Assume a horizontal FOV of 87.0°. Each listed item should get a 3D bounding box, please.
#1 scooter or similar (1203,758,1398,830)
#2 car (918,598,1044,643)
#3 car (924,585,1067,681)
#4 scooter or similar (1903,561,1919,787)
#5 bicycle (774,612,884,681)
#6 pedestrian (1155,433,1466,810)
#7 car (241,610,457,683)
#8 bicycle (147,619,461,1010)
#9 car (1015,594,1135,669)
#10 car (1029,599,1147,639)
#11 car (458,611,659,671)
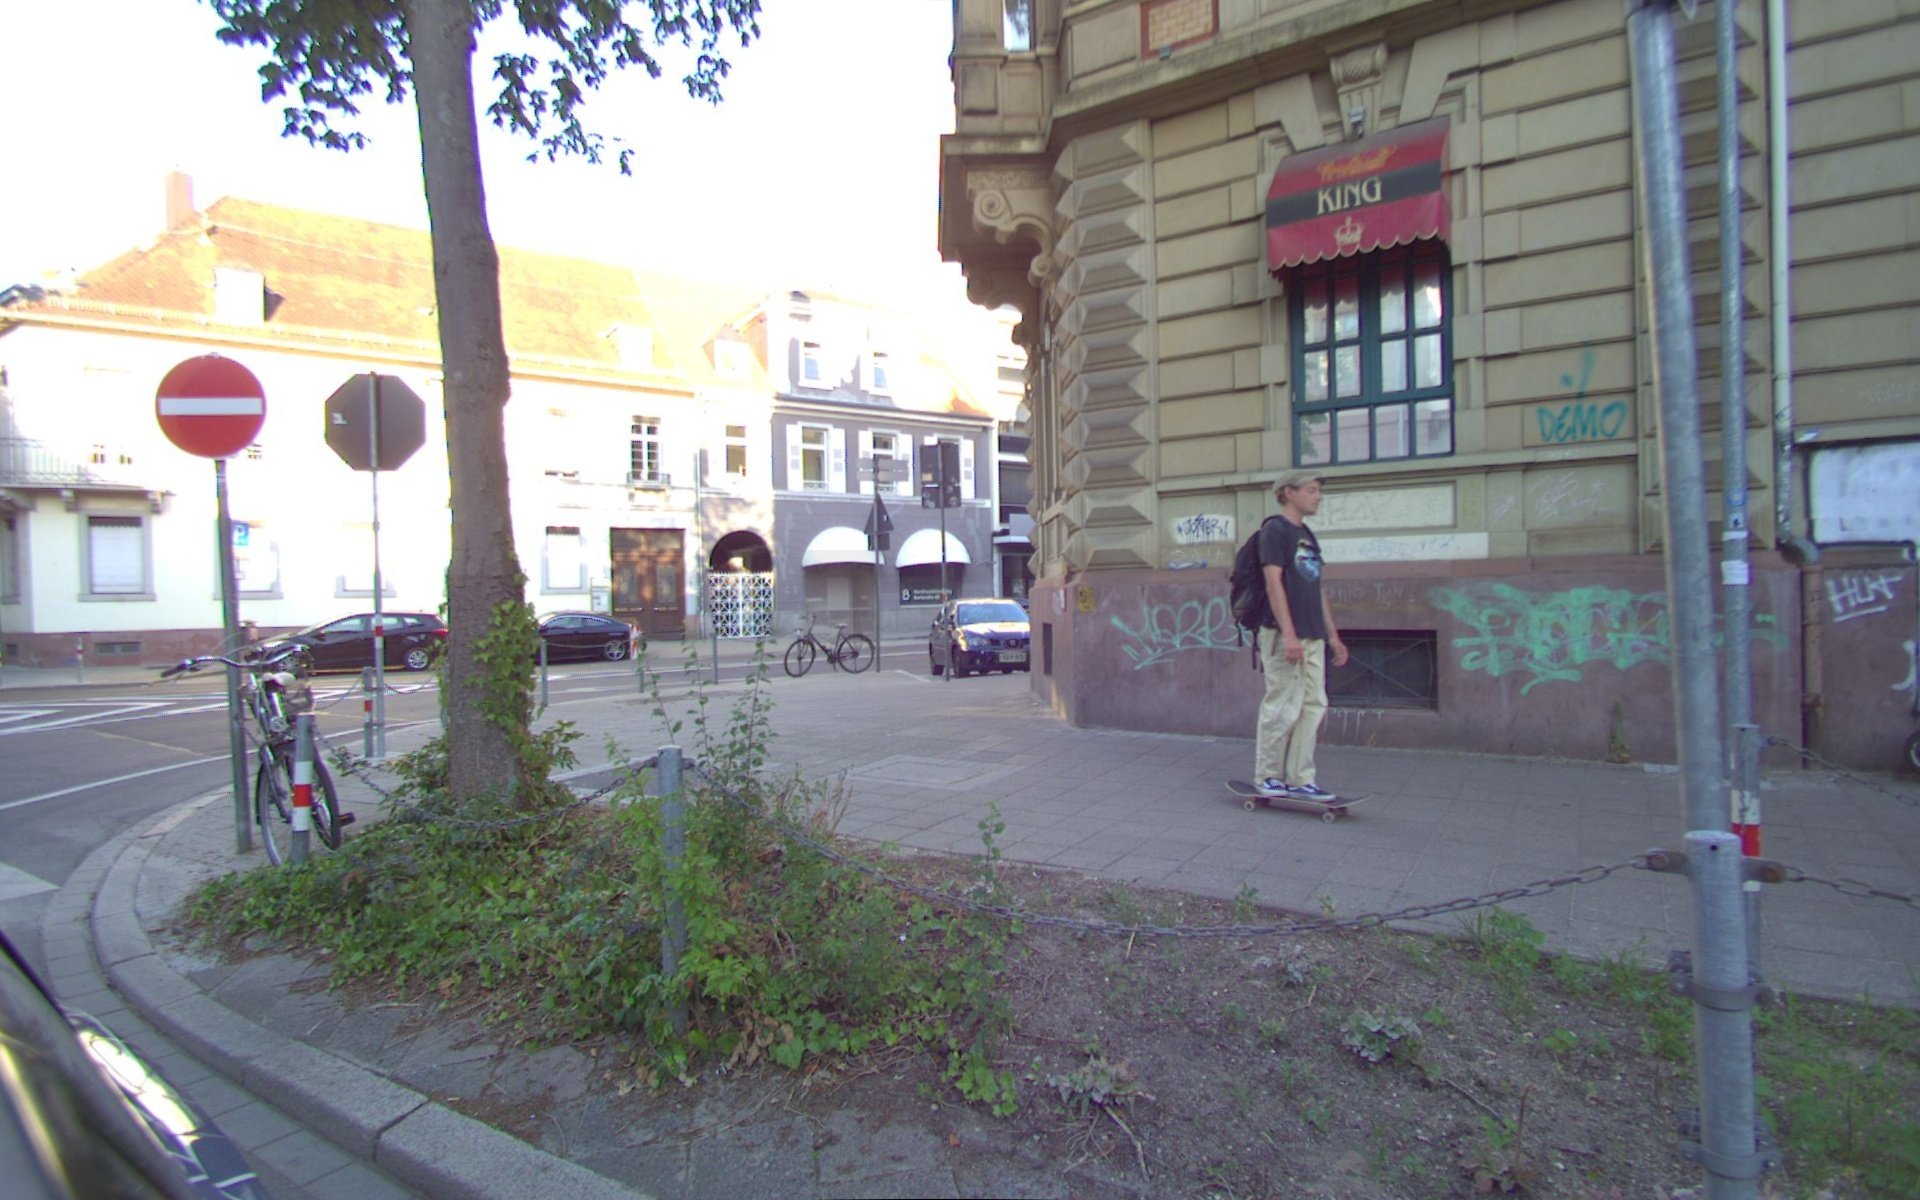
[{"bbox_3d":[1.784,1.007,5.343,0.882,0.208,0.412,-2,1,44],"label":"scooter or similar"},{"bbox_3d":[0.776,0.698,35.788,4.179,1.458,1.752,-1,0,-34],"label":"car"},{"bbox_3d":[0.511,0.629,18.061,1.712,1.472,3.871,-1,-3,-10],"label":"car"},{"bbox_3d":[5.587,0.376,5.027,0.433,1.176,1.288,-3,2,-44],"label":"scooter or similar"},{"bbox_3d":[-2.350,0.826,18.187,1.772,1.134,0.730,-2,-3,-26],"label":"bicycle"},{"bbox_3d":[1.865,0.113,5.451,1.267,1.752,0.839,-4,-1,44],"label":"pedestrian"},{"bbox_3d":[-14.823,1.074,24.696,4.357,1.553,1.812,-1,-1,-34],"label":"car"},{"bbox_3d":[-3.094,0.742,4.606,0.833,1.277,2.576,0,-1,-41],"label":"bicycle"},{"bbox_3d":[2.550,0.738,23.641,1.741,1.523,4.635,-2,-2,-6],"label":"car"},{"bbox_3d":[4.927,0.708,38.760,4.427,1.398,1.752,-1,0,-35],"label":"car"},{"bbox_3d":[-10.795,1.066,27.333,4.776,1.405,1.784,-1,-1,-33],"label":"car"}]
